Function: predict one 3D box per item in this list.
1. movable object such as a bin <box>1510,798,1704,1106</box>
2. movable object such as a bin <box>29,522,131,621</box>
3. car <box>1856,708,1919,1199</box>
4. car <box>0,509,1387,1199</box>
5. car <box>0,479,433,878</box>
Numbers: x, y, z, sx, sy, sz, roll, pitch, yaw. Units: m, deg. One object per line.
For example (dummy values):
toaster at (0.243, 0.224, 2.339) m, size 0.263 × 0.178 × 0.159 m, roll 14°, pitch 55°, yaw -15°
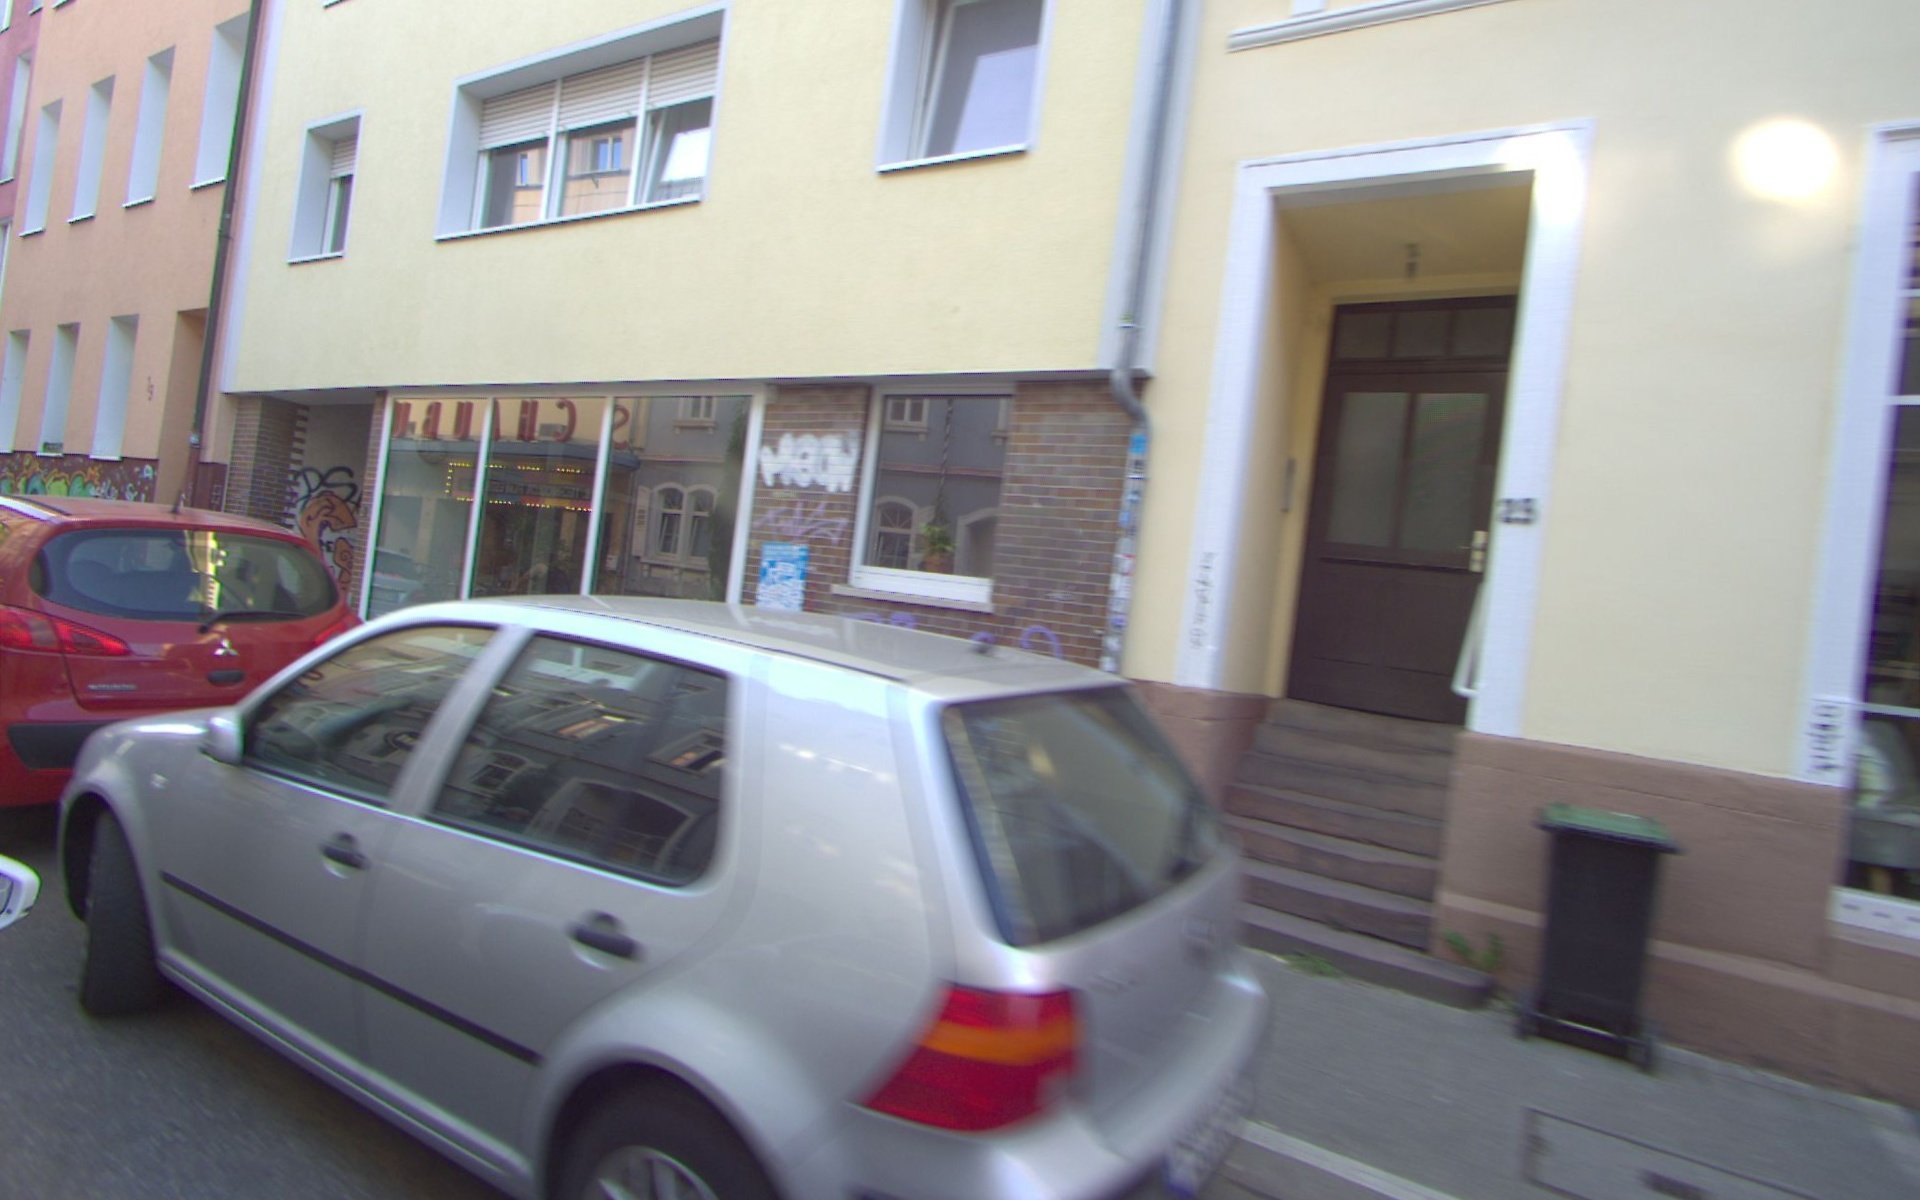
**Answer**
movable object such as a bin at (2.543, 1.334, 4.003) m, size 0.502 × 0.946 × 0.708 m, roll 7°, pitch -1°, yaw 31°
movable object such as a bin at (-10.489, -0.331, 11.996) m, size 0.724 × 1.072 × 0.692 m, roll 7°, pitch 2°, yaw 32°
car at (3.279, 1.149, 0.480) m, size 3.934 × 1.570 × 1.792 m, roll 7°, pitch 0°, yaw 32°
car at (-1.112, 0.692, 3.044) m, size 4.123 × 1.471 × 1.690 m, roll 7°, pitch 1°, yaw 31°
car at (-4.897, 0.169, 5.579) m, size 3.915 × 1.542 × 1.698 m, roll 7°, pitch 1°, yaw 33°
